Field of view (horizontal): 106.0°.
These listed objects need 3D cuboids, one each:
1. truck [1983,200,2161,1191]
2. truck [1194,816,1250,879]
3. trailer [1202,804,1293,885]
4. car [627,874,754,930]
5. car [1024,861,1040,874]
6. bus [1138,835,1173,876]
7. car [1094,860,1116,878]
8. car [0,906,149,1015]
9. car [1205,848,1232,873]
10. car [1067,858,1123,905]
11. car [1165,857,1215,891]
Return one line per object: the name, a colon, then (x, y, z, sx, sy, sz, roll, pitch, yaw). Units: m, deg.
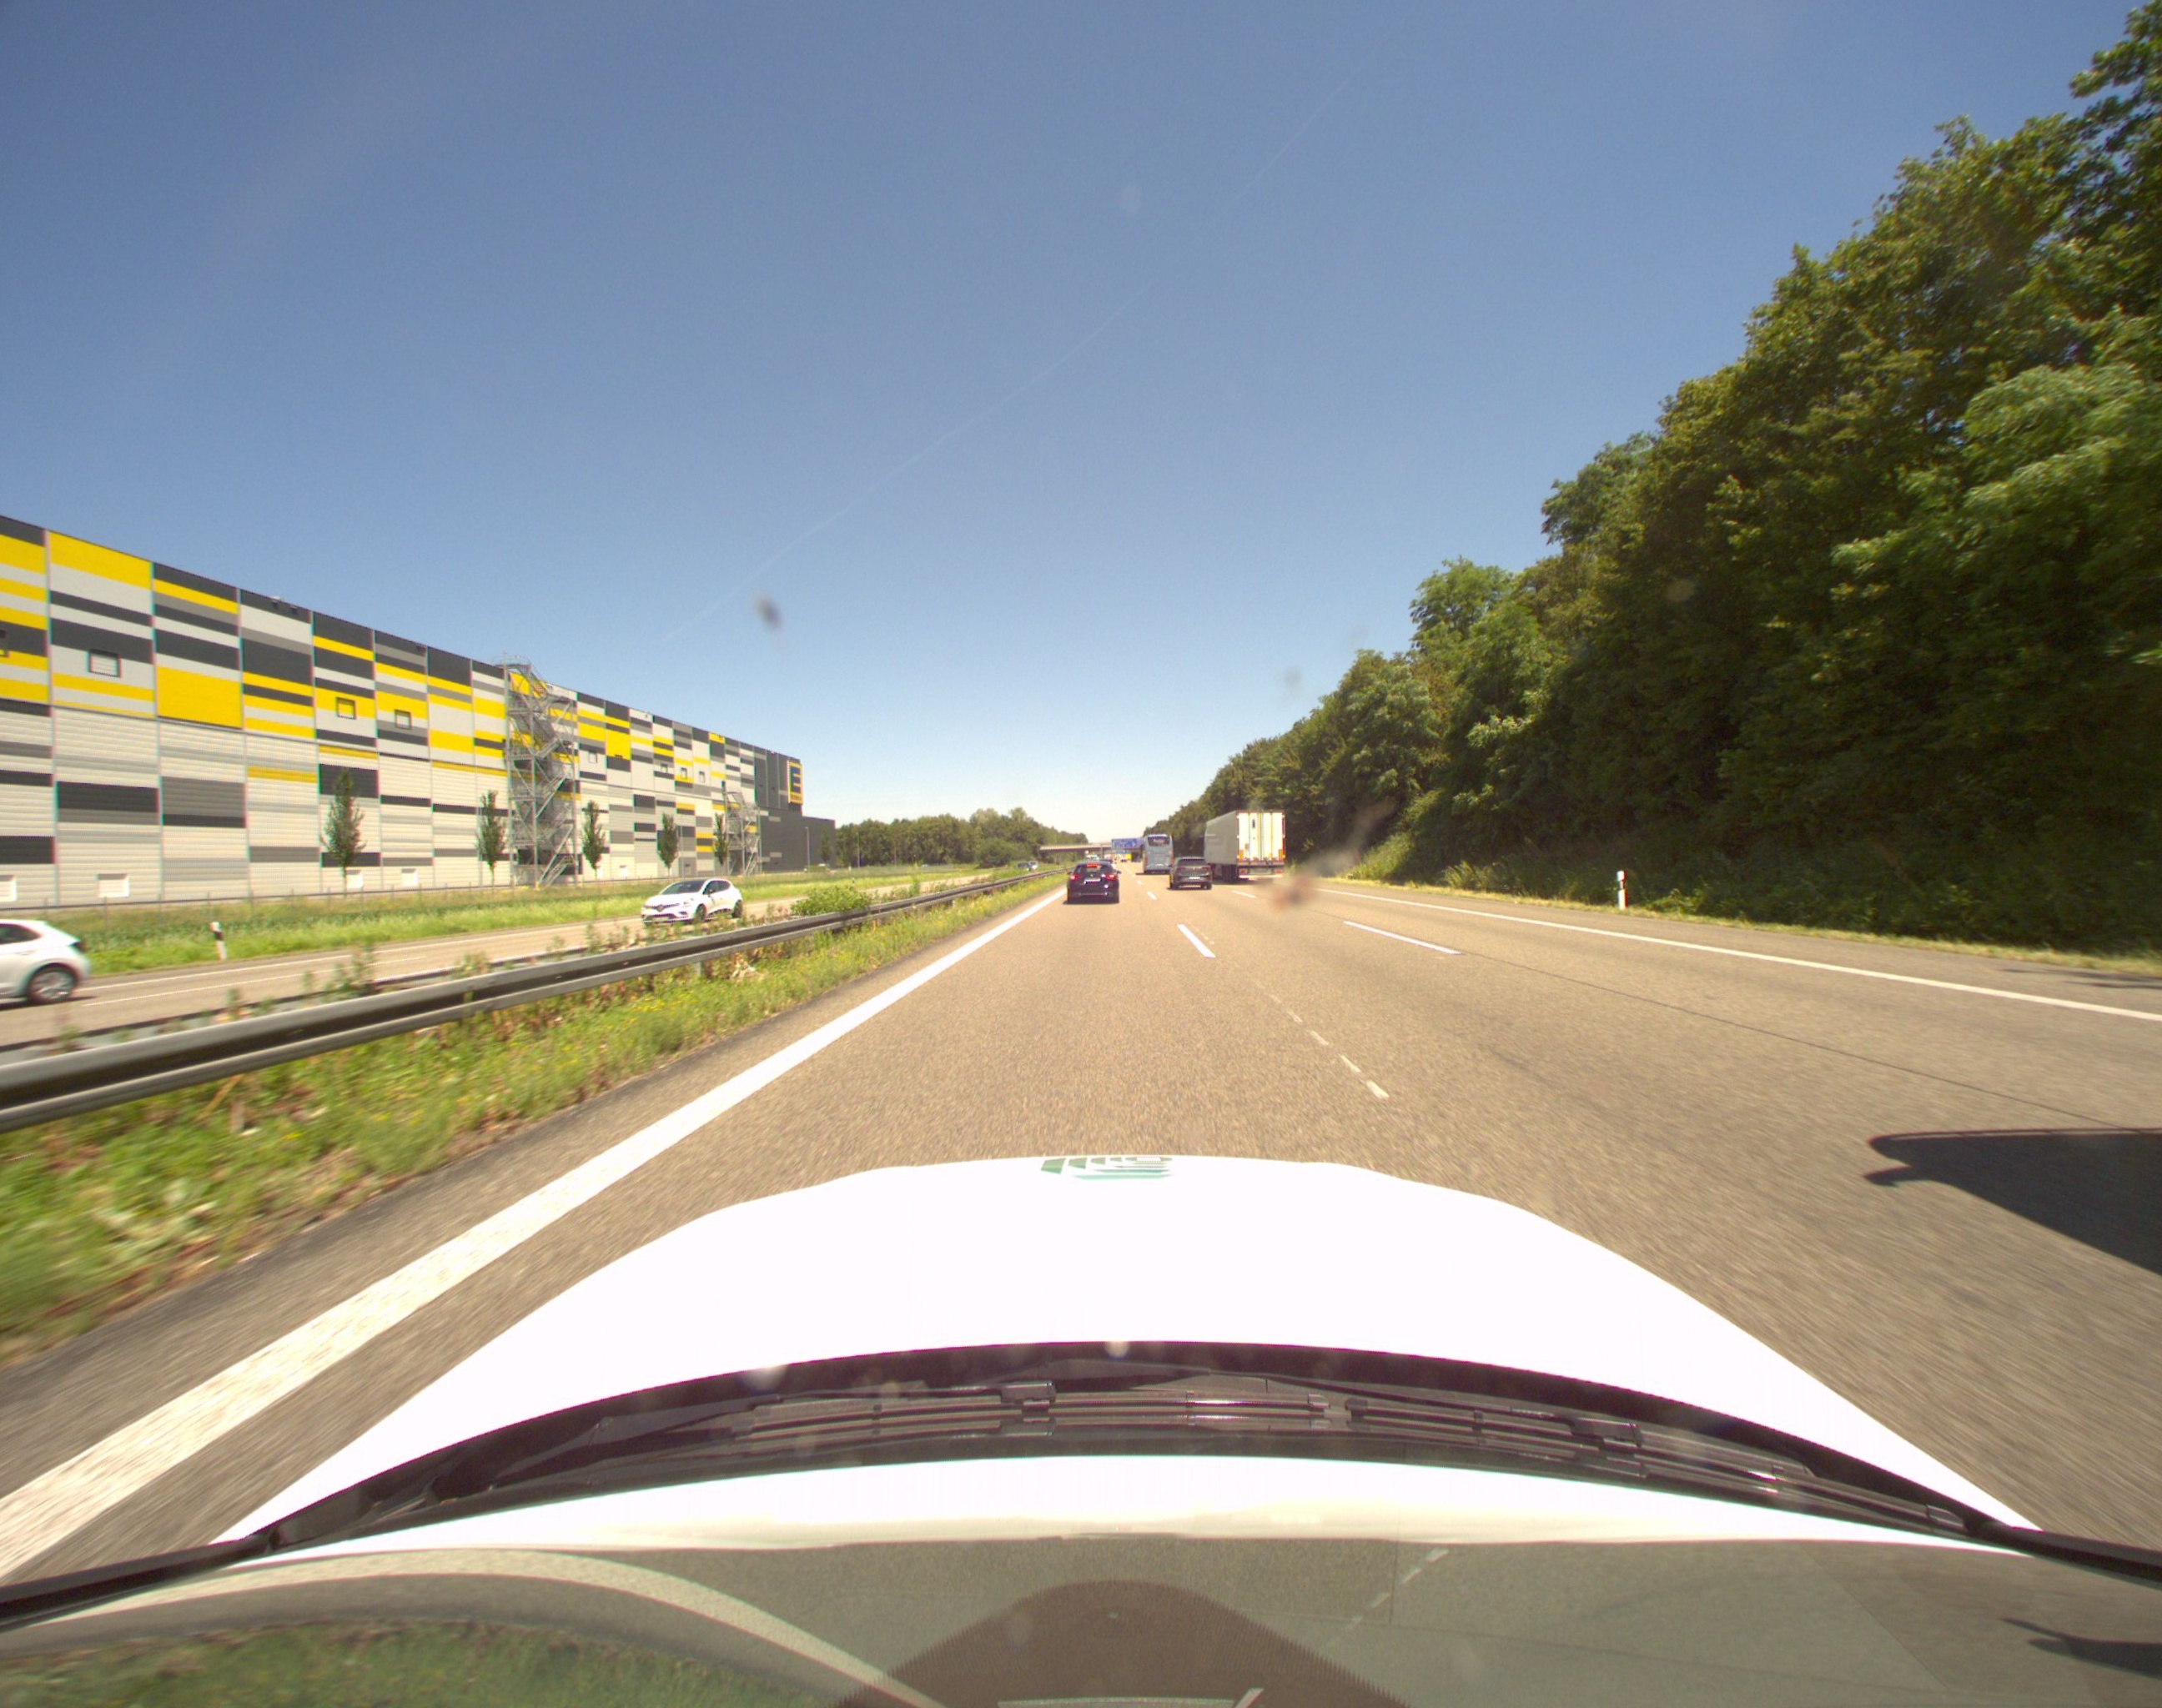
truck: (5.715, -0.670, 0.945, 2.668, 4.070, 6.050, -1, 0, 1)
truck: (9.961, -0.430, 58.021, 3.036, 4.215, 6.050, -1, 0, 1)
trailer: (9.744, -0.468, 49.623, 3.028, 4.224, 13.839, -1, 0, 1)
car: (-12.600, 1.489, 26.637, 1.792, 1.532, 4.486, -3, -1, 2)
car: (-6.797, 1.877, 112.893, 1.650, 1.582, 4.337, -3, 0, 2)
bus: (7.009, 0.205, 78.065, 2.791, 3.596, 12.481, -1, -1, 3)
car: (2.159, 1.312, 73.119, 1.892, 1.532, 4.242, -1, 0, 1)
car: (-17.216, 1.697, 11.883, 1.793, 1.532, 4.633, -3, -1, 1)
car: (12.471, 0.599, 74.071, 1.892, 2.120, 4.242, -1, 0, 1)
car: (0.520, 0.911, 28.716, 1.793, 1.502, 4.242, -1, 0, 1)
car: (5.231, 0.917, 39.571, 1.892, 1.532, 4.761, -1, 0, 1)
